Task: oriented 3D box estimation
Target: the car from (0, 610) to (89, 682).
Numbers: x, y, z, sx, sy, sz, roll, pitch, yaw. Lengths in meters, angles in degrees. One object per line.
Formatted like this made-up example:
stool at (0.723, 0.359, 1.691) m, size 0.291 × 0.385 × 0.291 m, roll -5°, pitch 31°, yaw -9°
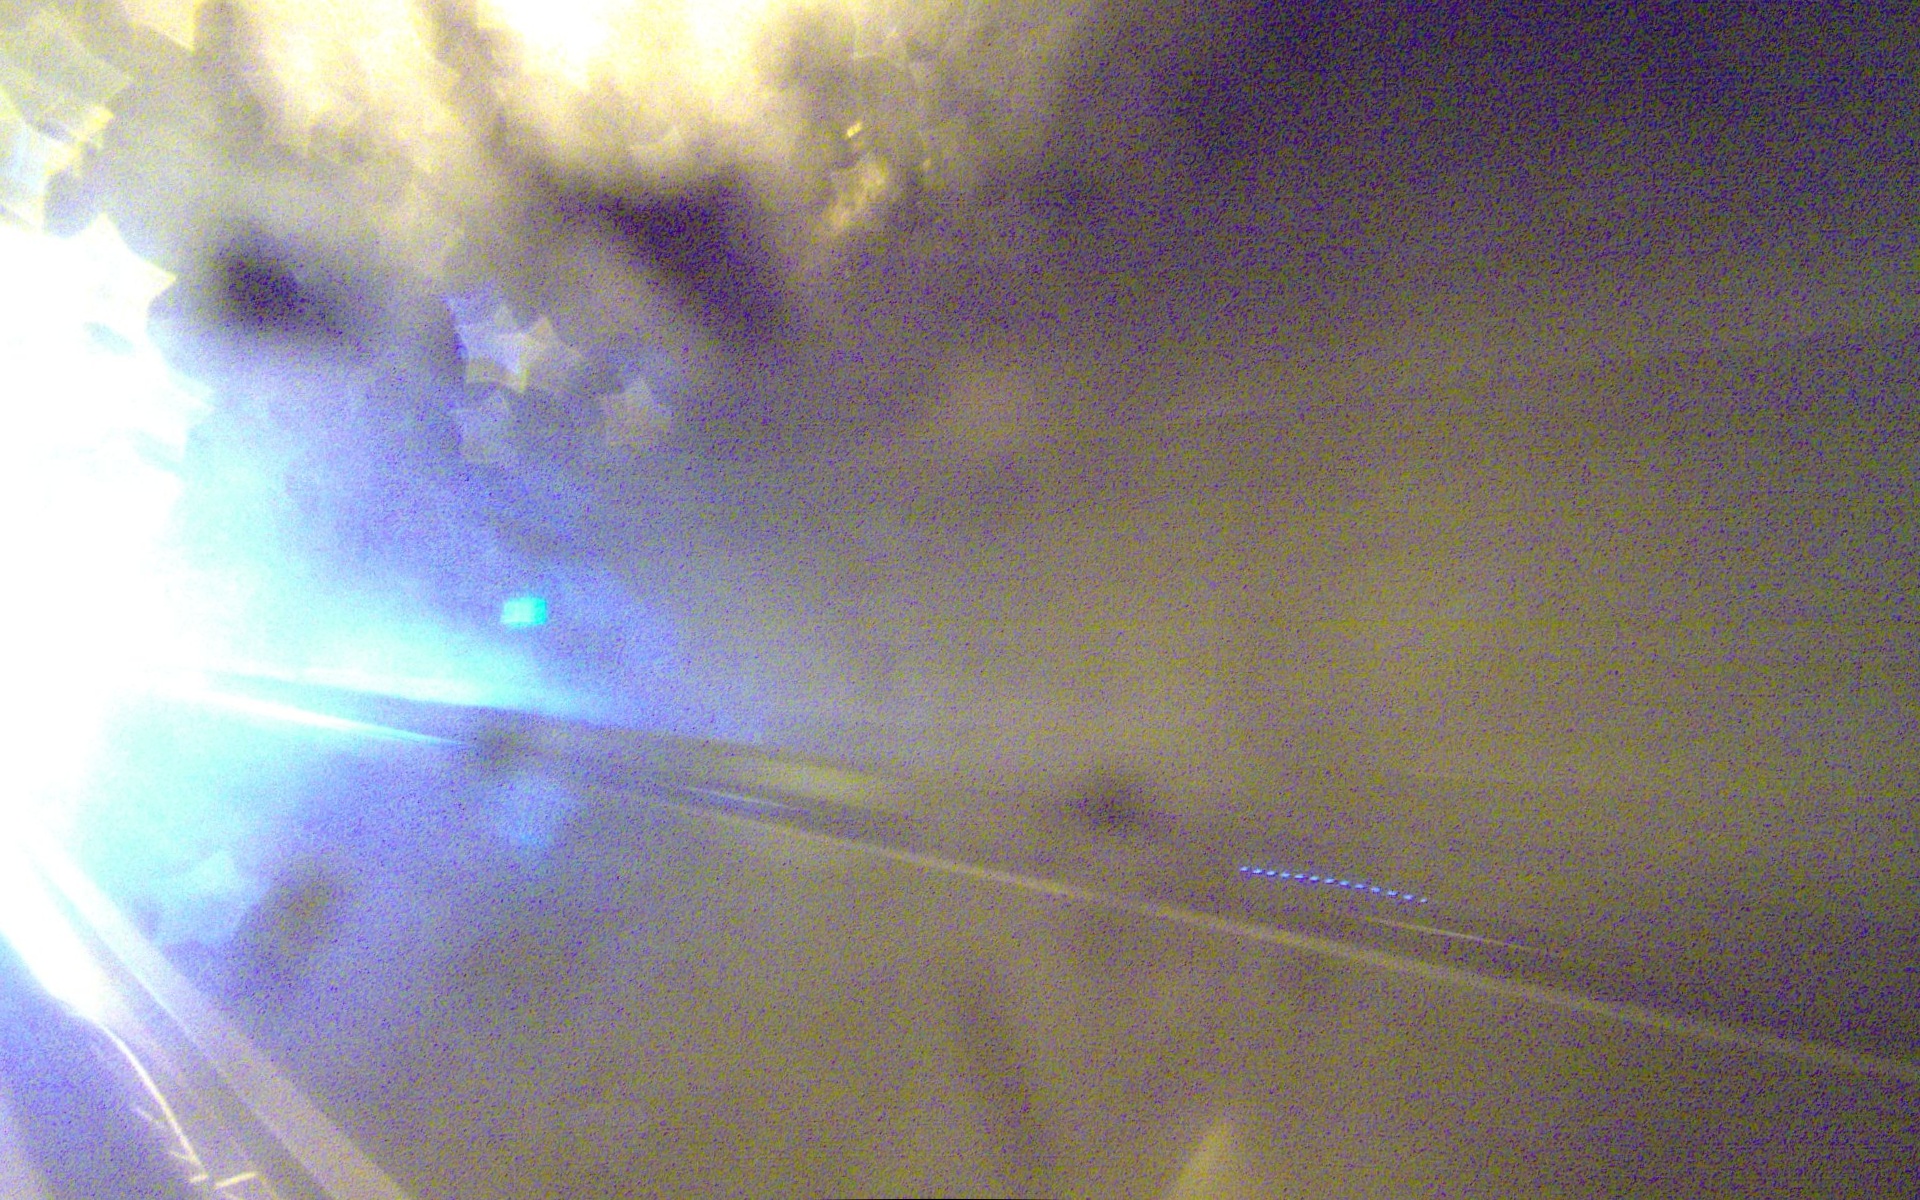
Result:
car at (-22.957, 1.103, 25.242) m, size 1.612 × 1.662 × 3.777 m, roll 0°, pitch -1°, yaw -45°

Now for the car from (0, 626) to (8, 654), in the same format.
car at (-53.911, 2.244, 55.784) m, size 3.836 × 1.504 × 1.639 m, roll -1°, pitch 1°, yaw 41°
